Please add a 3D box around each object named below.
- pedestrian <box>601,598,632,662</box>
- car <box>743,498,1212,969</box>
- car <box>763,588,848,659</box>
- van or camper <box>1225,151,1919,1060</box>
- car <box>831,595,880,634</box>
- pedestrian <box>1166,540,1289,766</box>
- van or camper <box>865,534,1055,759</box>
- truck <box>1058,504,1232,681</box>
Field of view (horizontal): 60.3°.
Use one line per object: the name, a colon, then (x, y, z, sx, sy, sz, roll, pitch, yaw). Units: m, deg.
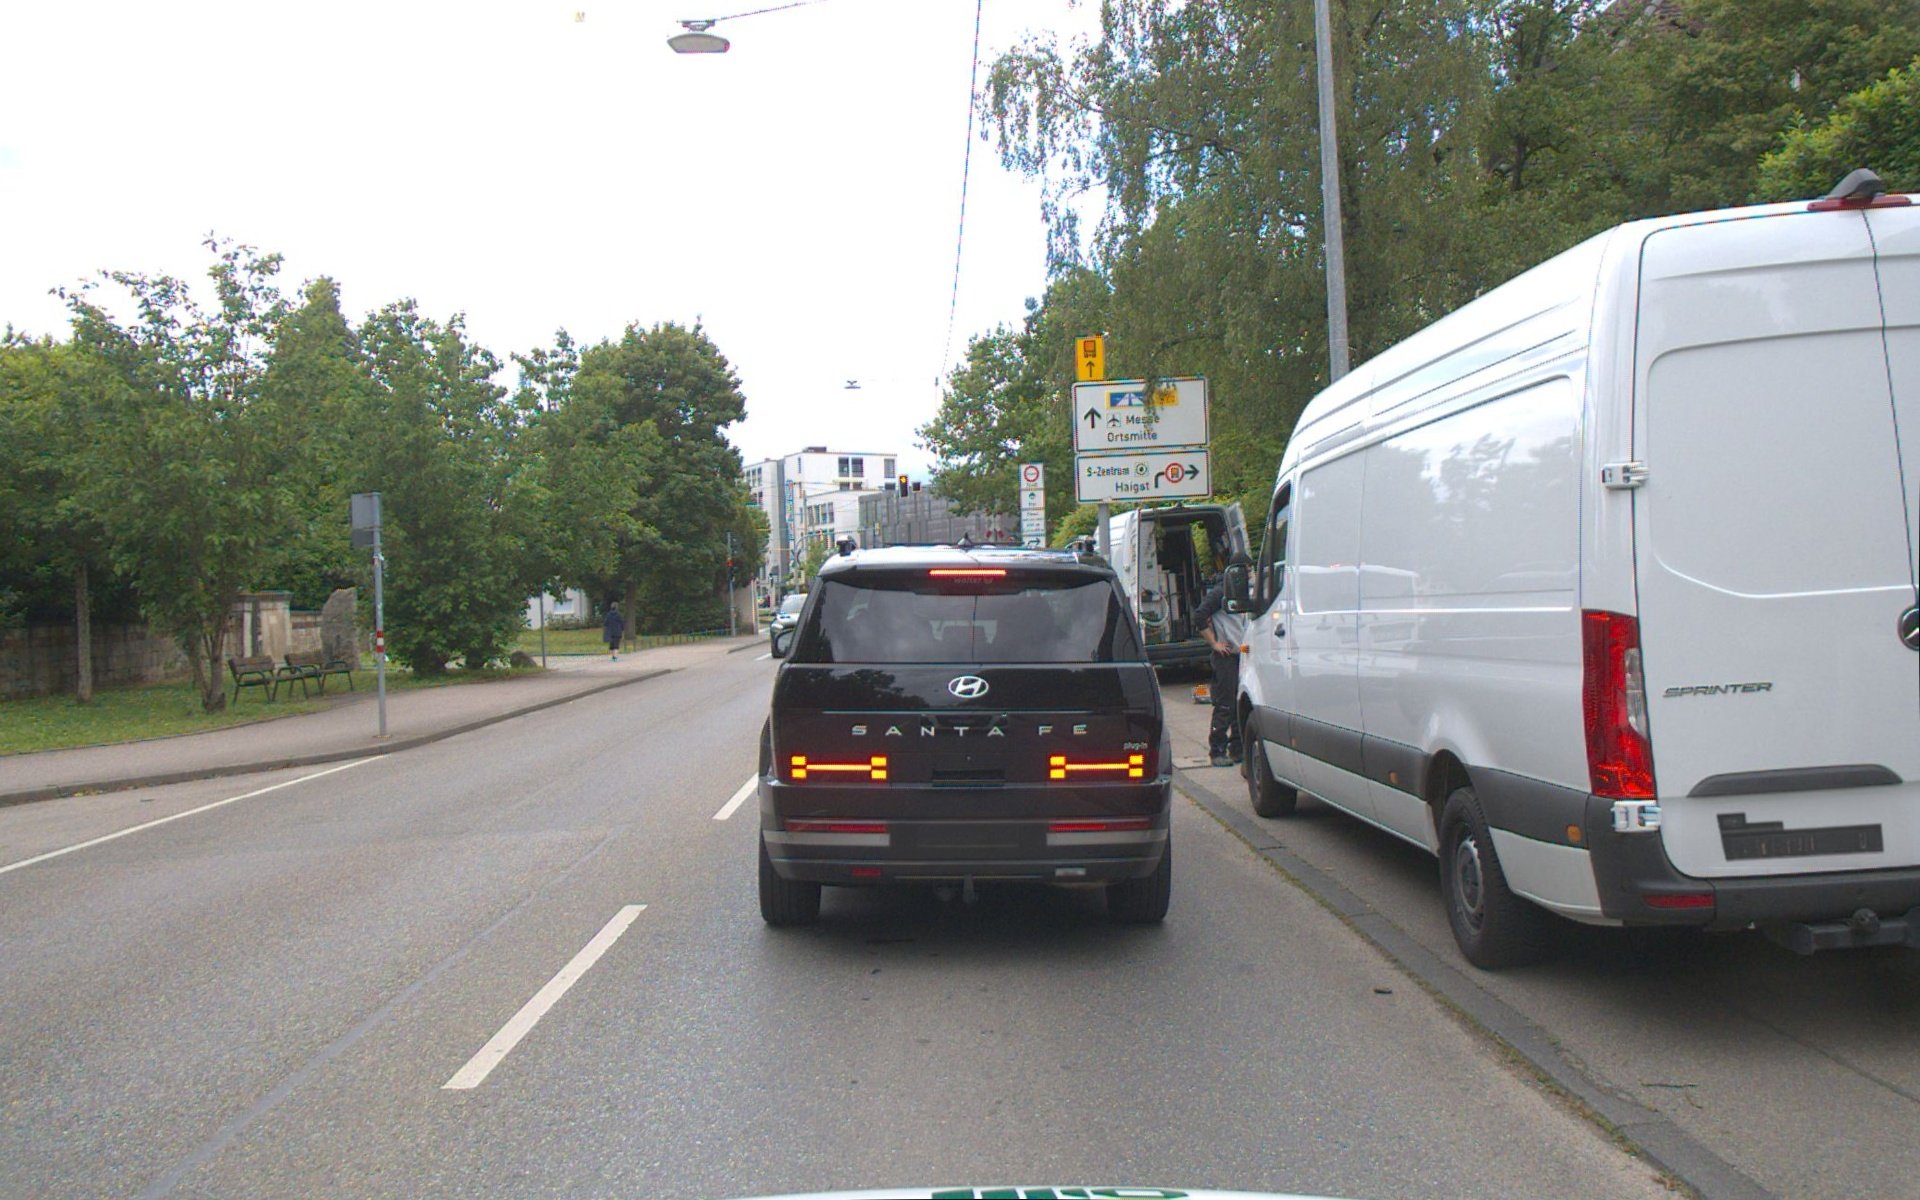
pedestrian: (-9.617, 0.837, 46.309, 0.724, 1.745, 0.791, -2, 0, -8)
car: (0.041, 0.518, 8.540, 1.851, 1.851, 3.999, 0, 0, -1)
car: (-4.111, 0.588, 44.529, 1.822, 1.686, 4.305, -4, 0, -1)
van or camper: (2.893, -0.015, 8.180, 1.953, 2.665, 6.540, -2, 0, -1)
car: (-4.509, 0.604, 72.011, 1.822, 1.478, 4.110, -4, 0, -1)
pedestrian: (2.247, 0.431, 13.967, 0.852, 1.828, 0.759, -2, 0, -2)
van or camper: (-0.030, 0.424, 17.484, 1.719, 2.049, 3.999, -2, 0, -1)
truck: (3.004, -0.103, 28.037, 1.904, 2.606, 5.212, -3, 0, -4)
